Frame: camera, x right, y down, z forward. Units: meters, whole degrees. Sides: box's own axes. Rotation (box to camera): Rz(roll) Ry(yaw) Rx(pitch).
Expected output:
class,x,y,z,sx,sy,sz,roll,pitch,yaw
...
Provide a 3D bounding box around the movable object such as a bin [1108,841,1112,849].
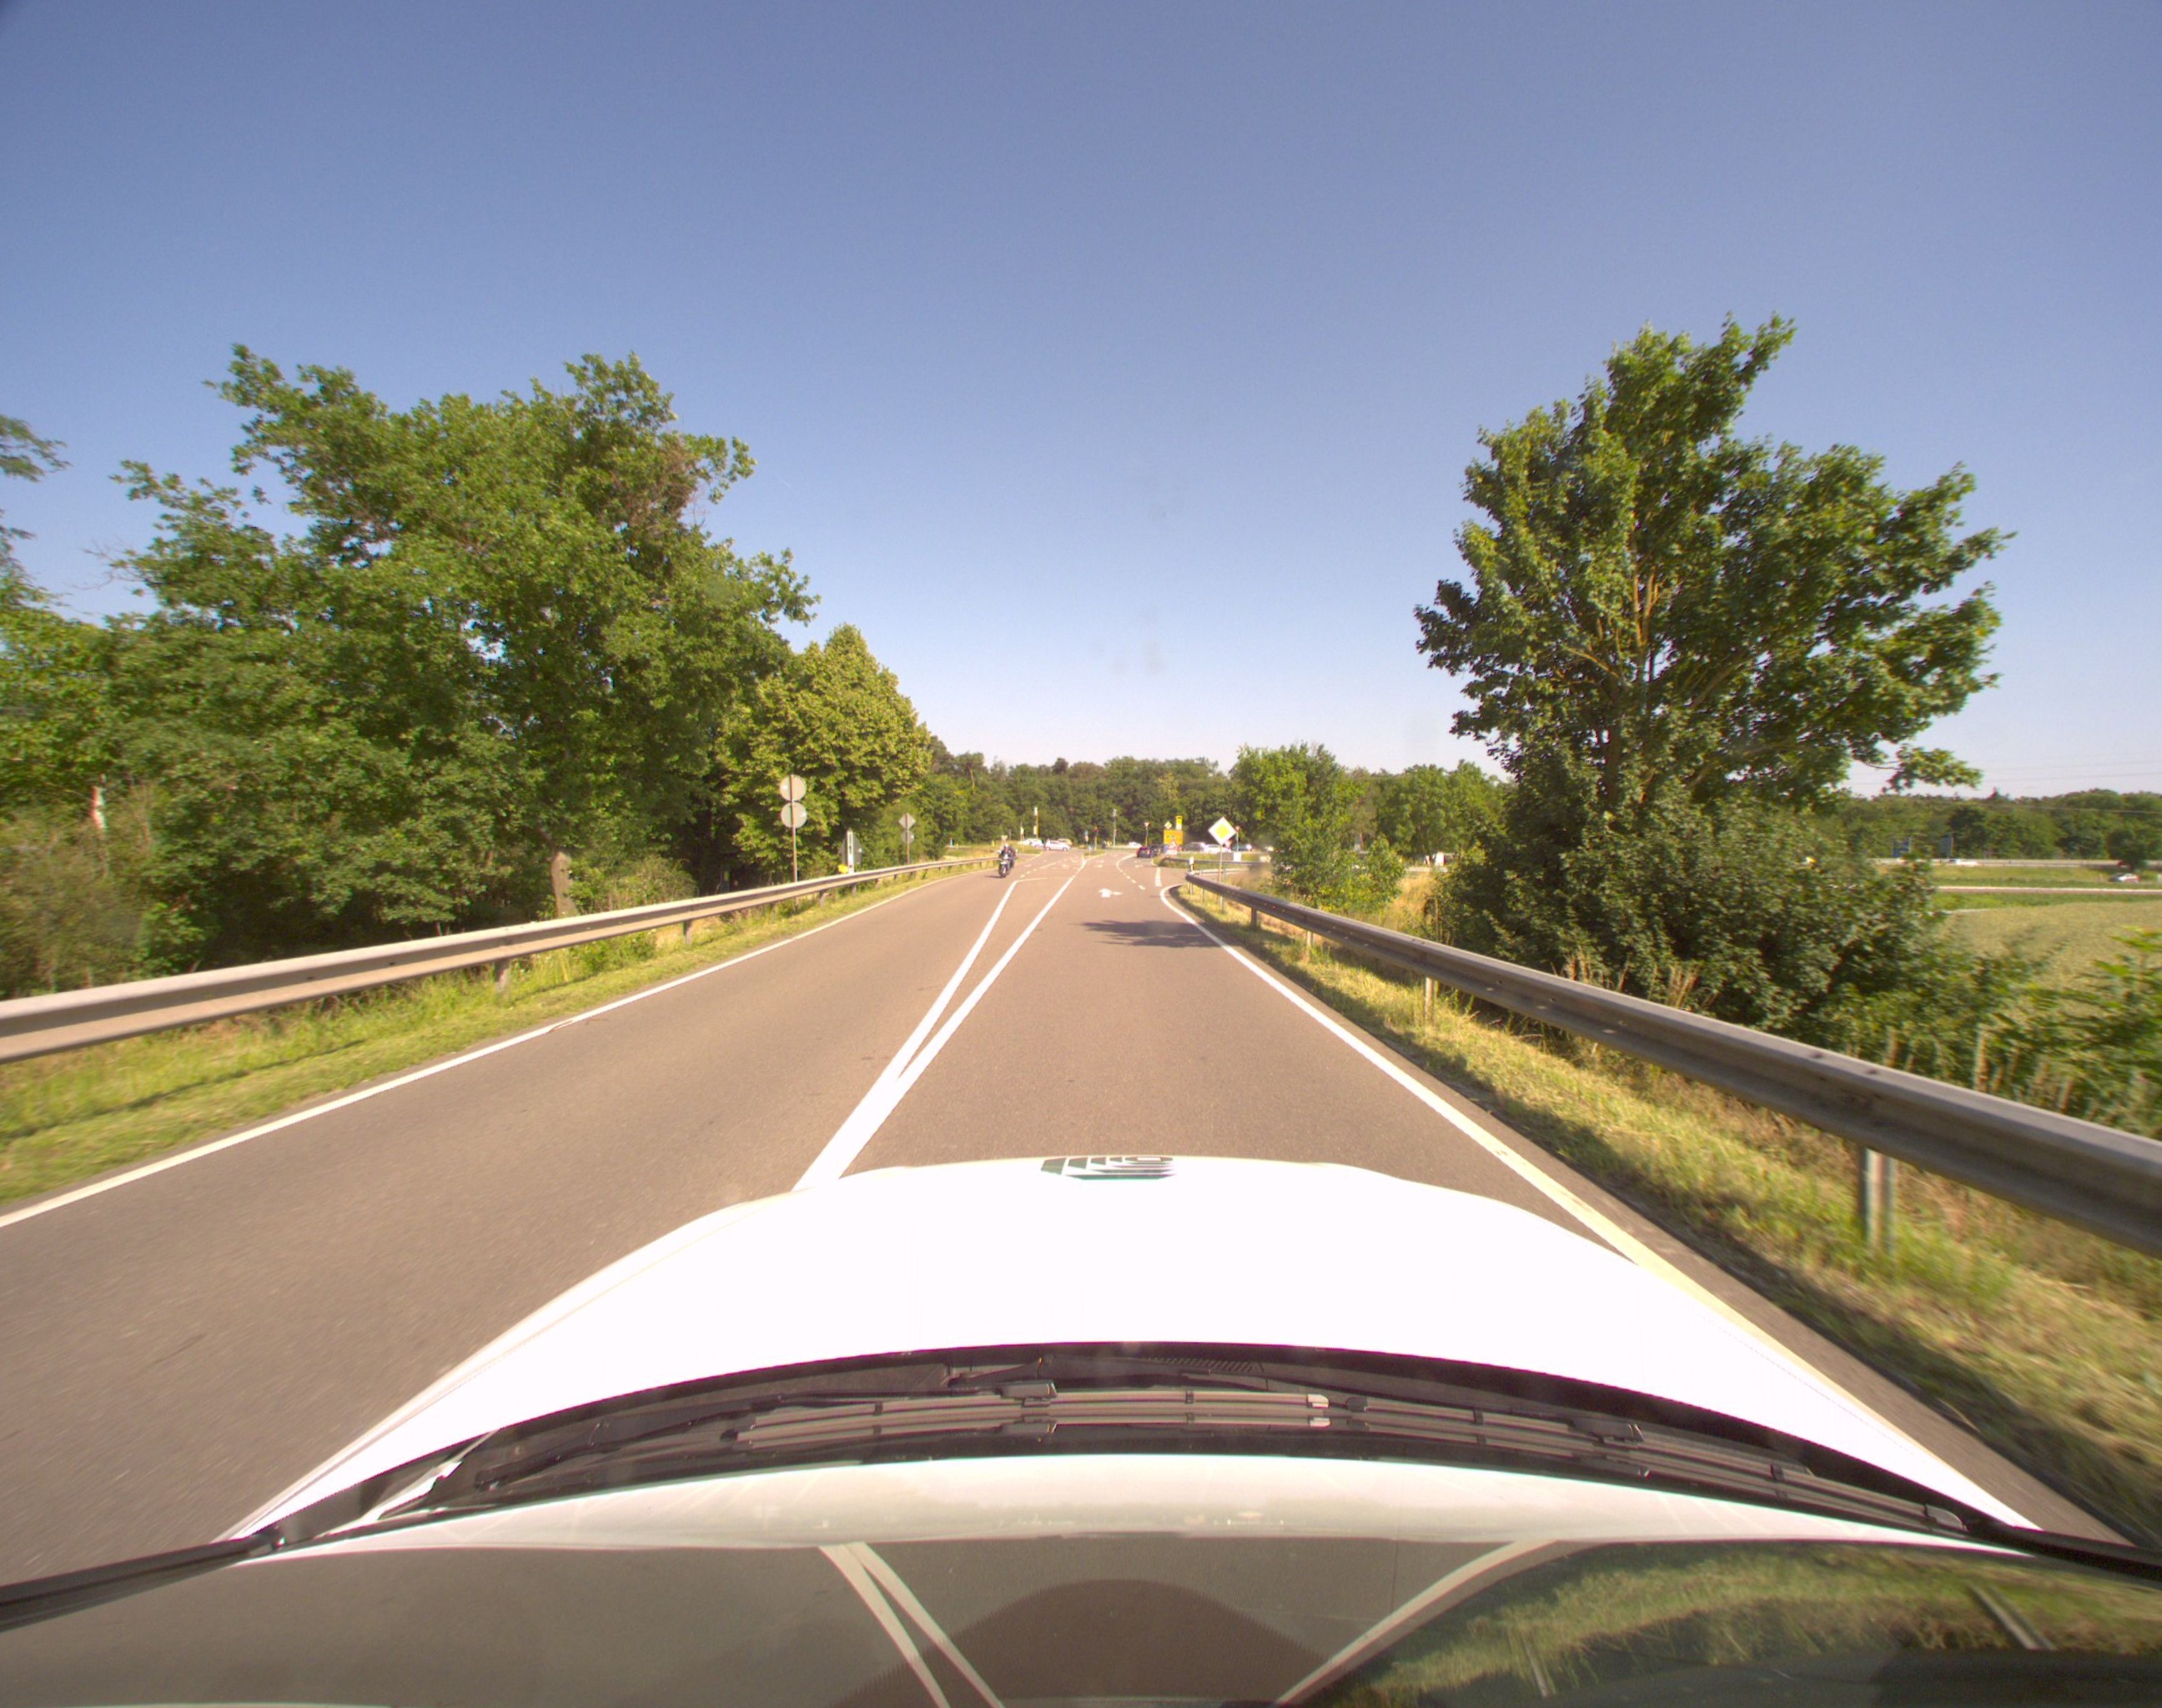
class,x,y,z,sx,sy,sz,roll,pitch,yaw
movable object such as a bin,5.142,-1.620,143.571,0.598,1.488,0.734,-1,0,9

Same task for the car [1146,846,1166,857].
class,x,y,z,sx,sy,sz,roll,pitch,yaw
car,10.351,-0.358,112.140,1.785,1.500,4.019,1,1,19

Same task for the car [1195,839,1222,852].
class,x,y,z,sx,sy,sz,roll,pitch,yaw
car,20.048,-1.320,128.100,3.977,2.013,1.799,0,1,-3

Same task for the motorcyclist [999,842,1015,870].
class,x,y,z,sx,sy,sz,roll,pitch,yaw
motorcyclist,-3.795,0.093,42.046,0.696,1.408,0.785,-1,0,2

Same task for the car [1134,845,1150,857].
class,x,y,z,sx,sy,sz,roll,pitch,yaw
car,7.913,-0.367,105.033,1.789,1.398,4.009,-2,0,8

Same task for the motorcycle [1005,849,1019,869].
class,x,y,z,sx,sy,sz,roll,pitch,yaw
motorcycle,-4.543,0.314,53.770,0.715,1.308,2.181,-1,1,0

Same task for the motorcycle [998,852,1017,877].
class,x,y,z,sx,sy,sz,roll,pitch,yaw
motorcycle,-3.789,0.527,42.042,0.714,1.250,2.079,-1,1,2

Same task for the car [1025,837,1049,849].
class,x,y,z,sx,sy,sz,roll,pitch,yaw
car,-8.132,-2.058,150.751,4.000,2.013,1.784,-1,0,-20

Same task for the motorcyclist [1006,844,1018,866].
class,x,y,z,sx,sy,sz,roll,pitch,yaw
motorcyclist,-4.546,0.040,53.852,0.696,1.408,0.979,-1,0,0

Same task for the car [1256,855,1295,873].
class,x,y,z,sx,sy,sz,roll,pitch,yaw
car,22.560,1.133,94.428,4.323,1.783,1.909,2,1,14

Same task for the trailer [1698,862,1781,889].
class,x,y,z,sx,sy,sz,roll,pitch,yaw
trailer,75.902,2.434,94.007,6.731,2.670,2.907,2,1,17

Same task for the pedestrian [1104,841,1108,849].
class,x,y,z,sx,sy,sz,roll,pitch,yaw
pedestrian,4.336,-1.566,143.078,0.518,1.390,0.517,-1,0,38

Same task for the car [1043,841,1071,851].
class,x,y,z,sx,sy,sz,roll,pitch,yaw
car,-3.720,-1.277,125.356,4.221,1.459,1.997,-1,0,-5

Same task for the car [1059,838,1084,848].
class,x,y,z,sx,sy,sz,roll,pitch,yaw
car,-1.529,-1.841,136.394,3.986,1.750,1.757,-1,0,-9

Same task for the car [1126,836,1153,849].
class,x,y,z,sx,sy,sz,roll,pitch,yaw
car,9.116,-1.814,127.566,3.982,2.013,1.797,0,1,-6
